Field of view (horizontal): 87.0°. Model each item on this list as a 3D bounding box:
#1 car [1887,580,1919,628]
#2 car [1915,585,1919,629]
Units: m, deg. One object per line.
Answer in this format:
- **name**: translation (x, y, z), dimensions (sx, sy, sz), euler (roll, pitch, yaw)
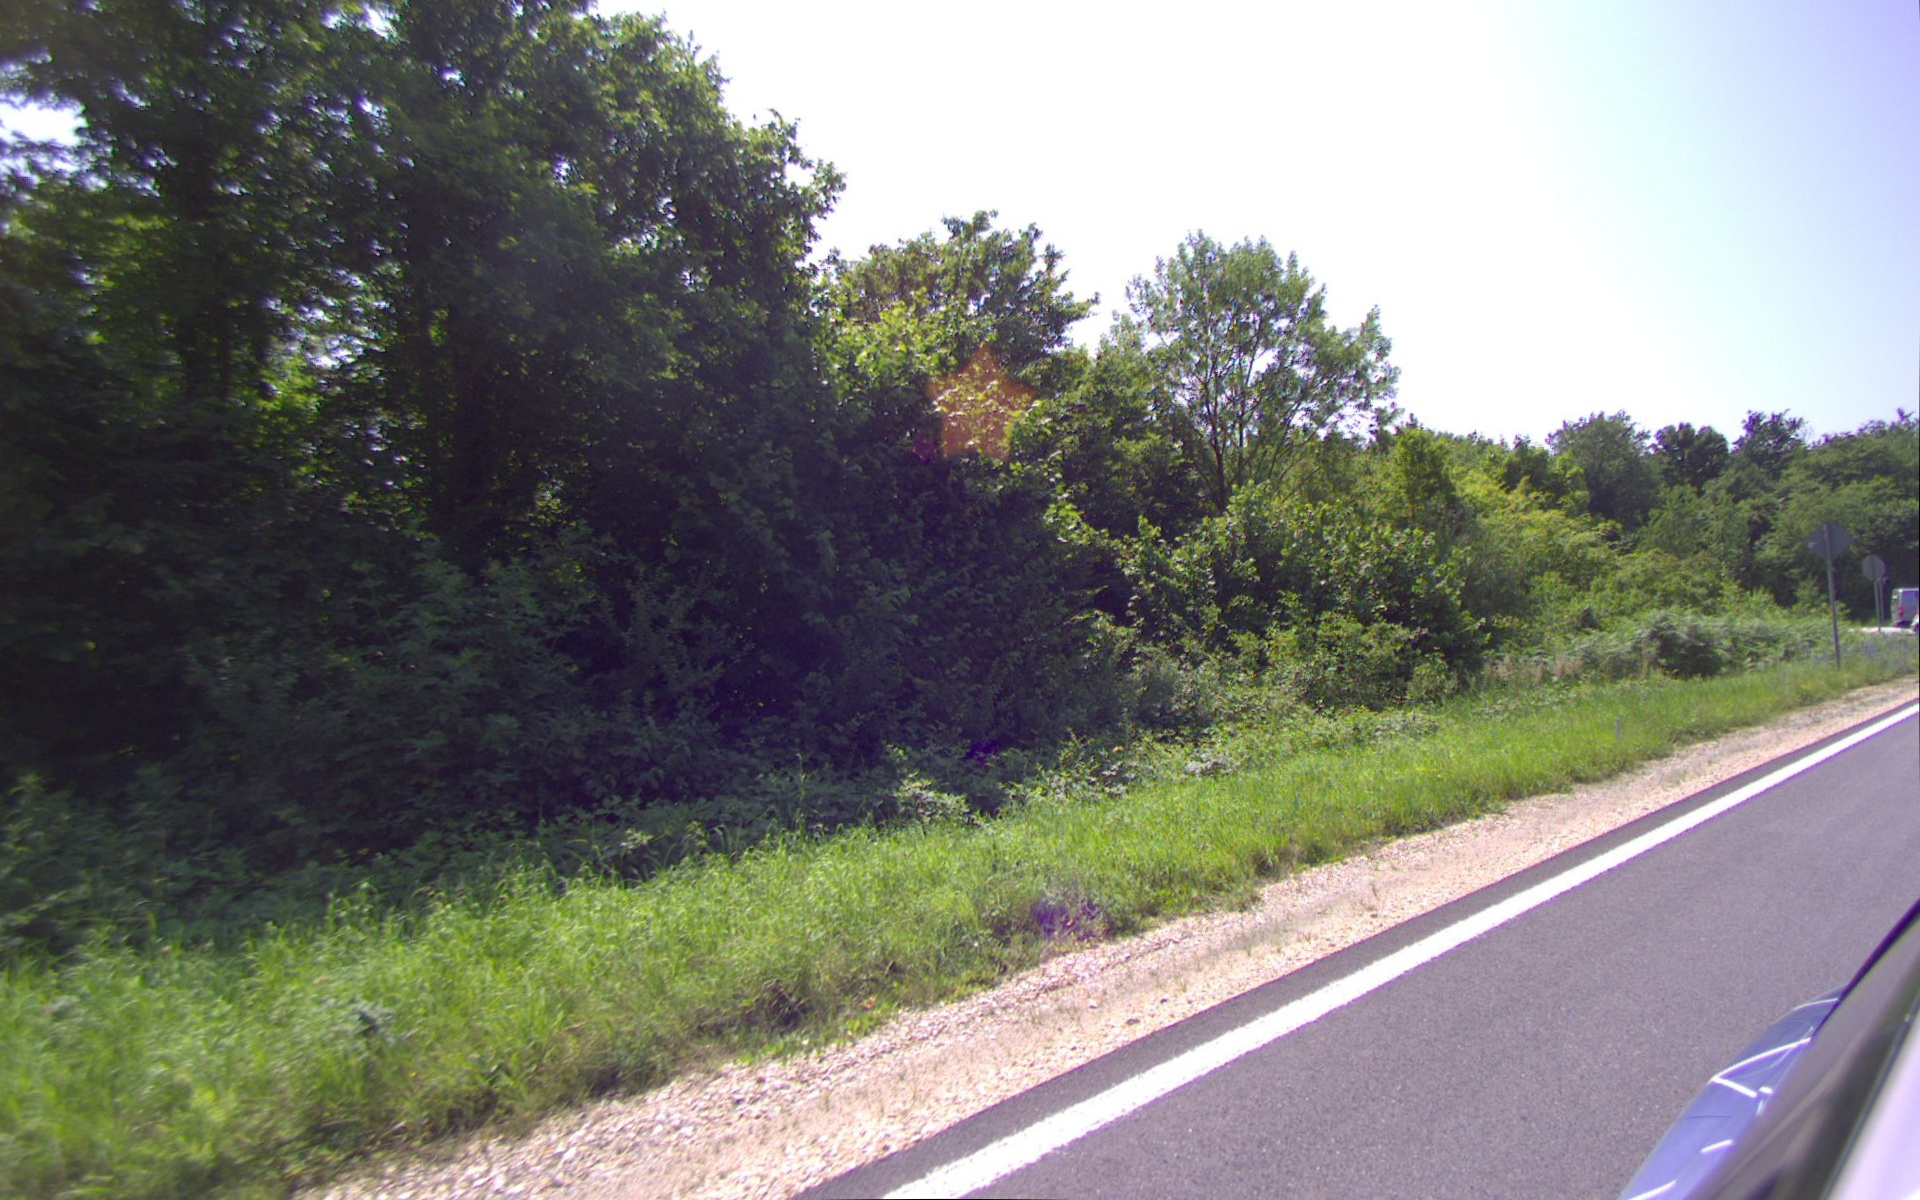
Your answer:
- **car**: translation (40.299, 0.128, 39.954), dimensions (5.199, 1.930, 1.987), euler (-1, 1, 37)
- **car**: translation (36.302, 0.283, 35.335), dimensions (1.807, 1.600, 4.001), euler (2, 0, -10)
